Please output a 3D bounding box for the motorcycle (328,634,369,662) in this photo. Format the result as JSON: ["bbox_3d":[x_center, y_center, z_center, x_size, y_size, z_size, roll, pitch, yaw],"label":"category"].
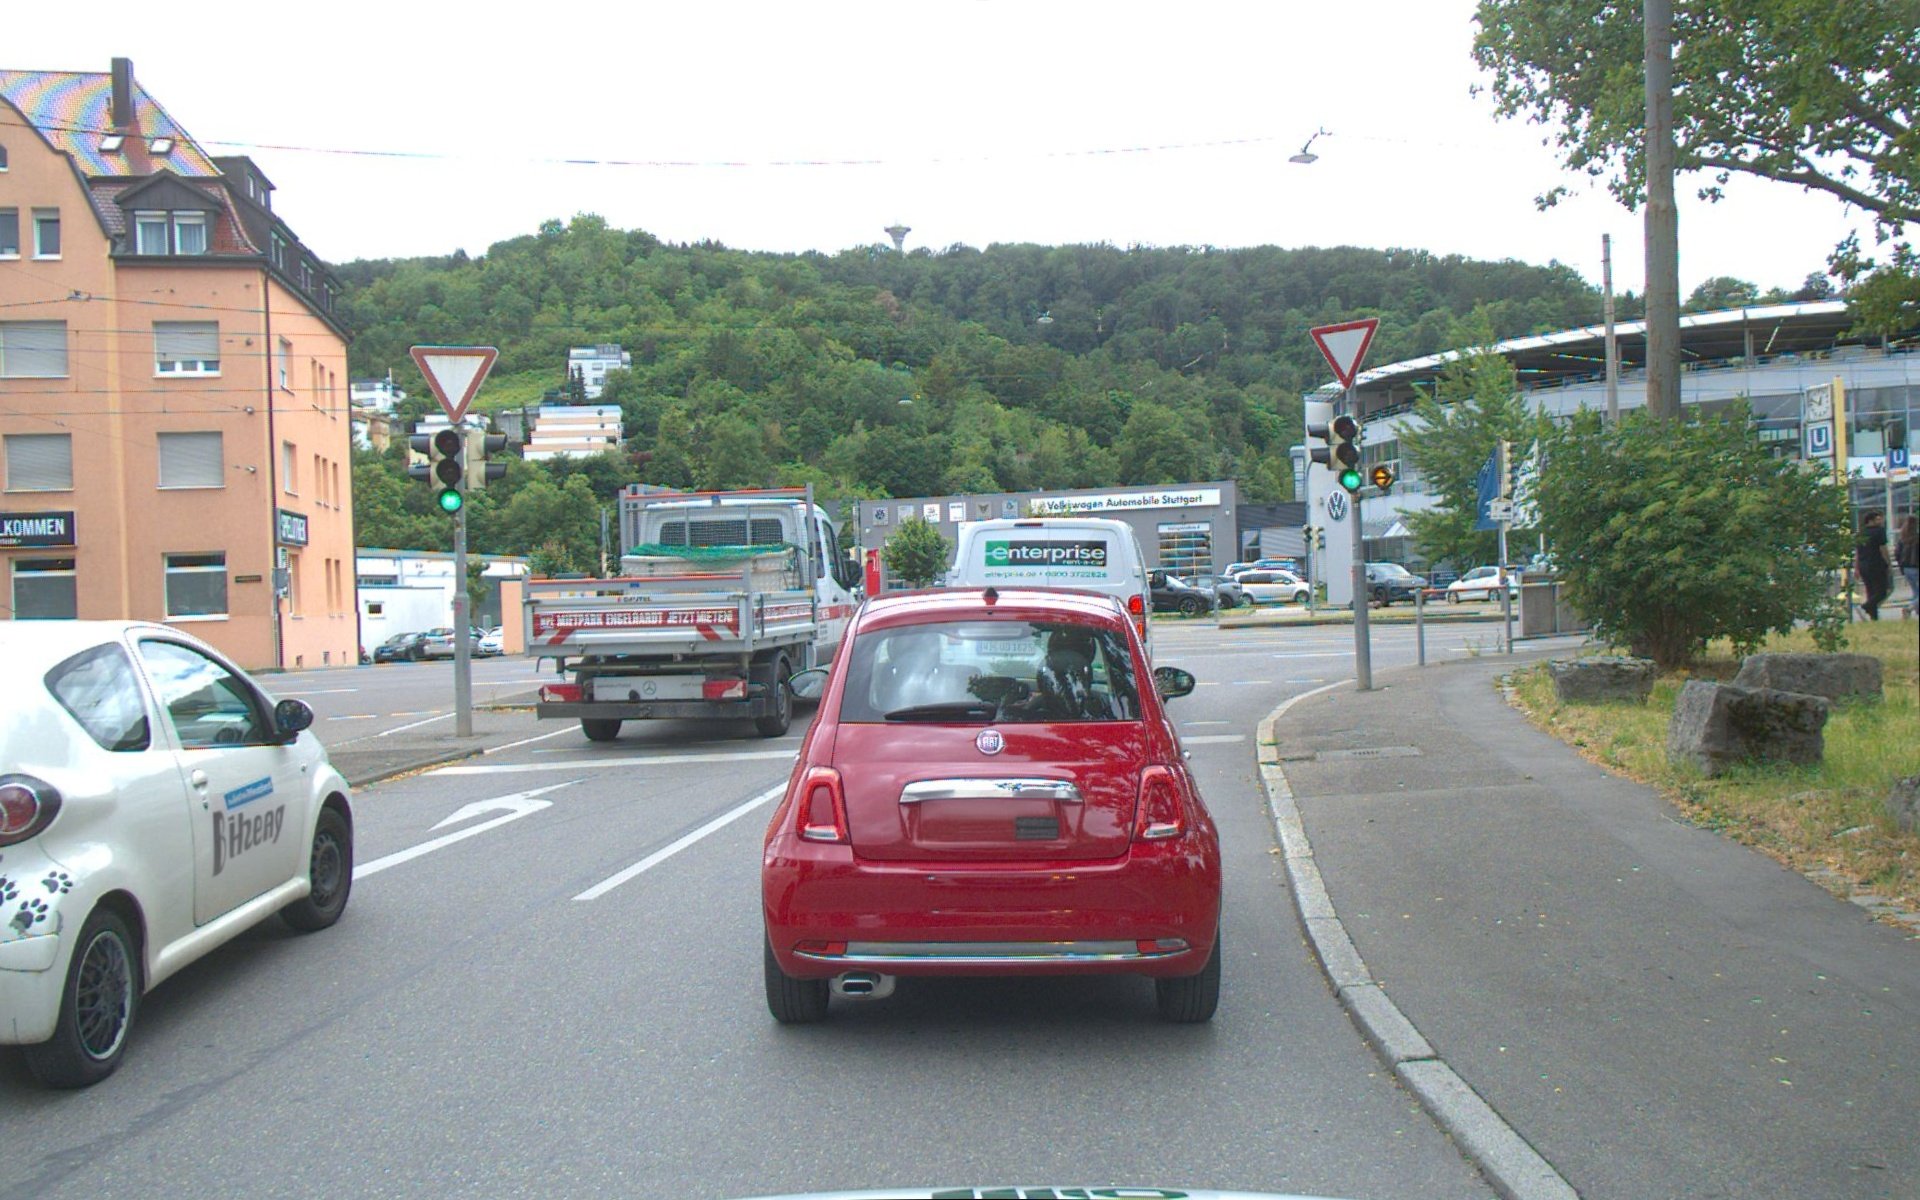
[{"bbox_3d":[-22.866,1.786,61.802,1.673,1.001,0.527,1,-1,33],"label":"motorcycle"}]

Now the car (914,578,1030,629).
[{"bbox_3d":[0.565,0.184,75.655,4.895,2.049,2.001,-3,-2,12],"label":"car"}]

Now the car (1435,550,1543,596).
[{"bbox_3d":[20.380,-1.012,63.893,1.964,1.669,3.977,1,-1,-20],"label":"car"}]

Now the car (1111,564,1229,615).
[{"bbox_3d":[7.628,-0.405,60.028,3.905,1.668,2.001,1,4,21],"label":"car"}]

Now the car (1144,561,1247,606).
[{"bbox_3d":[9.699,-0.663,68.389,3.906,1.736,1.999,1,-1,-2],"label":"car"}]

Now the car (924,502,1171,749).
[{"bbox_3d":[1.045,0.135,16.589,1.956,2.076,4.836,1,2,9],"label":"car"}]

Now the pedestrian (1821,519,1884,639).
[{"bbox_3d":[14.392,-0.332,26.686,0.658,1.900,0.602,1,-1,-15],"label":"pedestrian"}]

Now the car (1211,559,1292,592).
[{"bbox_3d":[16.568,-1.369,94.170,4.400,1.759,2.001,1,-1,6],"label":"car"}]

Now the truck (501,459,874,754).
[{"bbox_3d":[-2.508,-0.083,17.109,2.264,2.463,5.660,-2,3,6],"label":"truck"}]

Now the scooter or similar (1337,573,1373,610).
[{"bbox_3d":[14.279,-0.295,59.767,1.175,1.311,0.575,1,-1,2],"label":"scooter or similar"}]

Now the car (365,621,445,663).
[{"bbox_3d":[-26.472,1.982,79.017,1.951,1.871,4.512,1,-1,5],"label":"car"}]

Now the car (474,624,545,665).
[{"bbox_3d":[-21.574,2.089,79.340,1.952,1.871,4.512,1,-1,3],"label":"car"}]

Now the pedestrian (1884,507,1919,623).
[{"bbox_3d":[14.517,-0.518,25.060,0.658,1.719,0.602,1,-1,-15],"label":"pedestrian"}]

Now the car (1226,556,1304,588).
[{"bbox_3d":[18.118,-1.651,98.356,4.400,1.759,2.001,1,-1,6],"label":"car"}]

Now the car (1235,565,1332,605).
[{"bbox_3d":[15.429,-0.706,79.015,4.400,1.759,2.001,1,-1,6],"label":"car"}]

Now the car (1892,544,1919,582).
[{"bbox_3d":[41.274,-1.623,69.085,1.887,1.581,3.989,-3,0,-11],"label":"car"}]

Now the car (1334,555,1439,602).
[{"bbox_3d":[16.091,-0.783,62.644,1.964,1.668,3.977,-1,0,-20],"label":"car"}]

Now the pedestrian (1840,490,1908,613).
[{"bbox_3d":[14.284,-0.748,25.860,0.658,1.900,0.602,-1,0,-15],"label":"pedestrian"}]

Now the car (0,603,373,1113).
[{"bbox_3d":[-3.514,0.773,6.323,1.563,1.445,3.370,-3,0,-6],"label":"car"}]

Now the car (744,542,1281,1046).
[{"bbox_3d":[0.197,0.594,7.219,1.662,1.551,4.001,1,1,1],"label":"car"}]

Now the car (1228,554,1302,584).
[{"bbox_3d":[19.042,-1.933,103.461,4.400,1.759,2.001,1,-1,6],"label":"car"}]

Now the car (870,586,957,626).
[{"bbox_3d":[-2.486,0.335,89.263,4.400,2.032,2.001,1,-1,7],"label":"car"}]

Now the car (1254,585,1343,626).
[{"bbox_3d":[17.766,0.308,86.954,4.400,2.032,2.001,1,-1,7],"label":"car"}]

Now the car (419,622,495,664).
[{"bbox_3d":[-24.033,2.036,79.221,1.952,1.871,4.512,1,-1,4],"label":"car"}]
